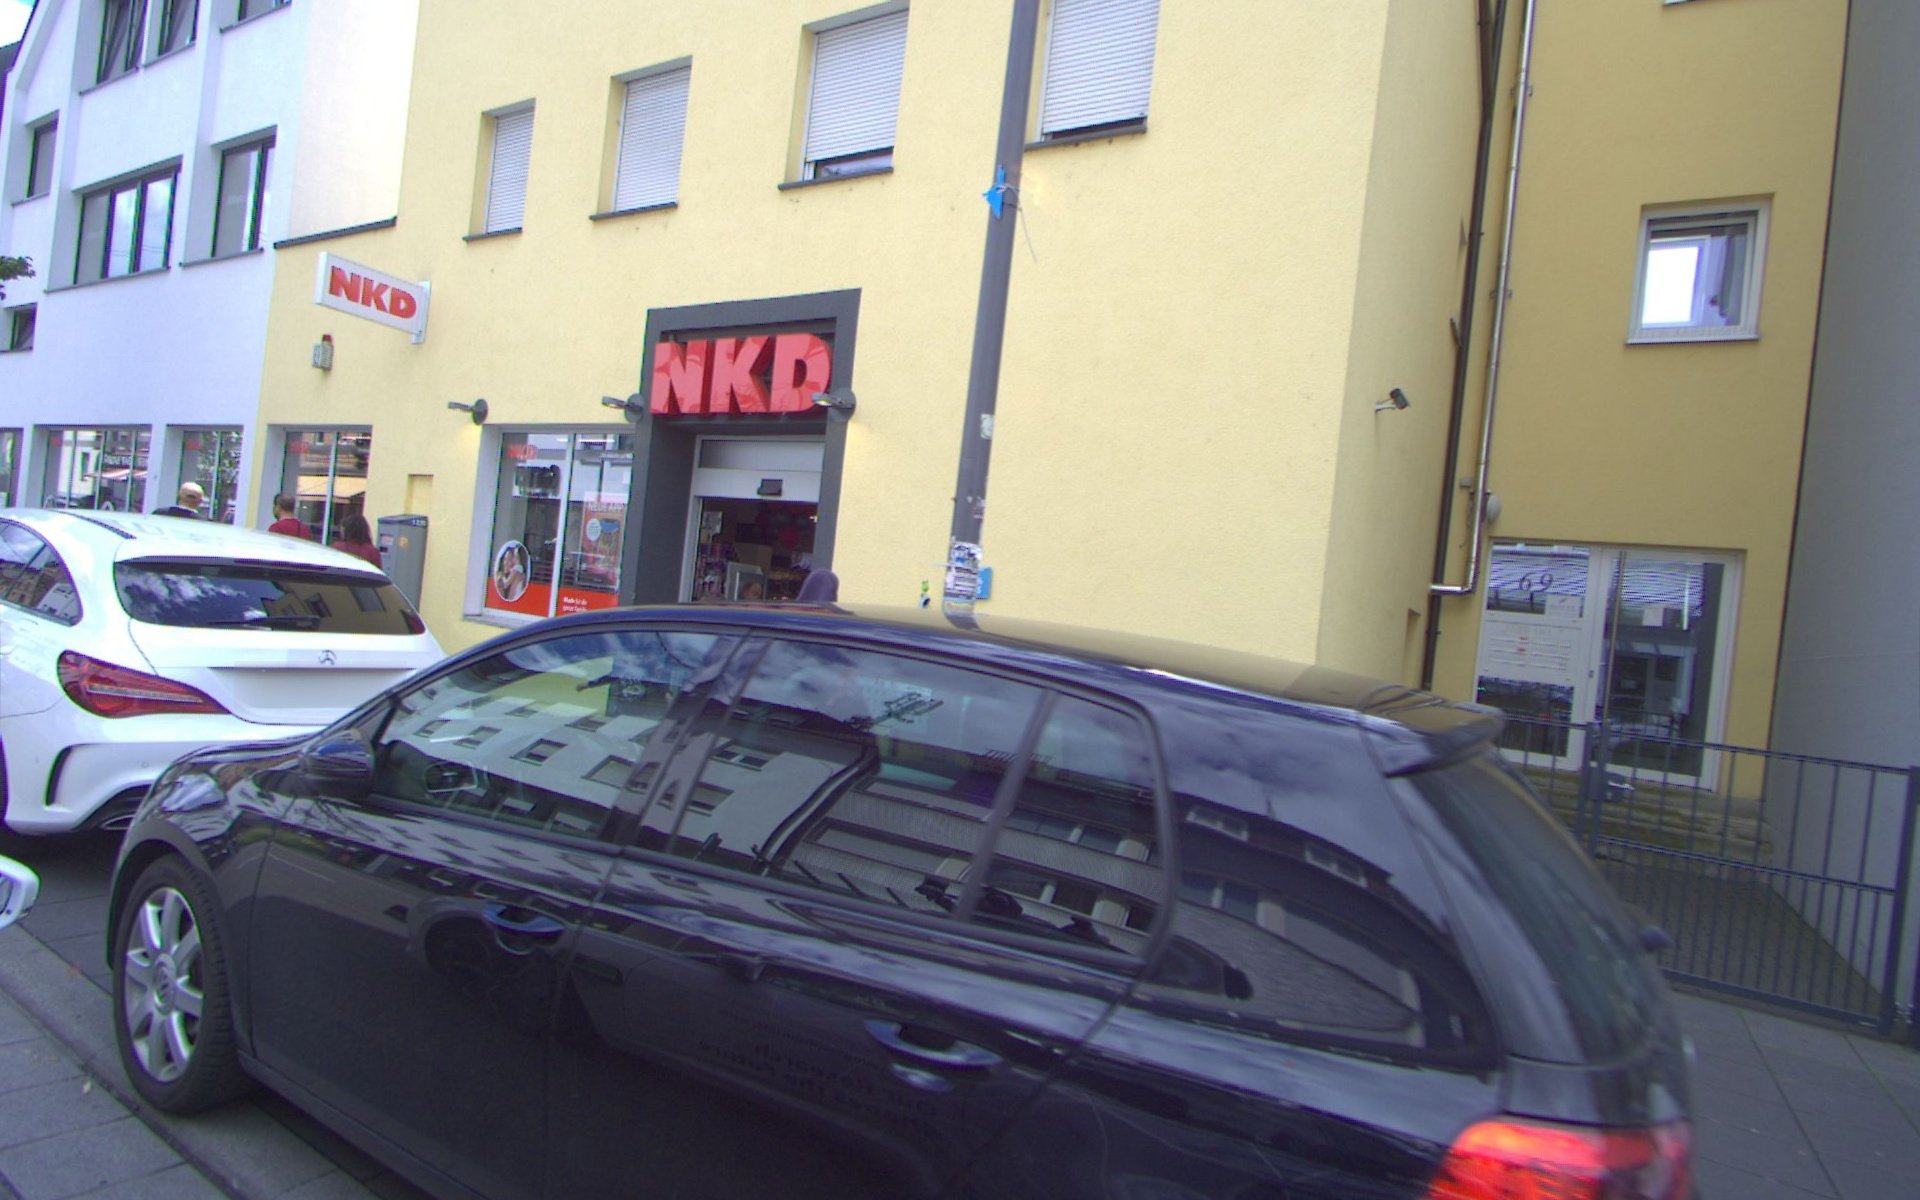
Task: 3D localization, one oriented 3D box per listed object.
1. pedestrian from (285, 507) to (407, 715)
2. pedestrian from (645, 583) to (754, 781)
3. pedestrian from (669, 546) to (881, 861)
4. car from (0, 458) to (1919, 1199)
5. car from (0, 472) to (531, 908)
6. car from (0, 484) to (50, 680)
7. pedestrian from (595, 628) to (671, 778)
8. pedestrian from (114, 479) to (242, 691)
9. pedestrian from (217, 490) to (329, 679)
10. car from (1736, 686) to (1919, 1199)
[{"bbox_3d":[-5.769,0.109,9.461,0.566,1.862,0.589,6,-1,32],"label":"pedestrian"},{"bbox_3d":[-1.937,0.604,7.471,0.443,1.380,0.532,6,1,-43],"label":"pedestrian"},{"bbox_3d":[-1.024,0.546,5.644,0.714,1.572,0.750,6,0,30],"label":"pedestrian"},{"bbox_3d":[-0.637,0.676,2.676,4.445,1.489,1.694,8,-1,29],"label":"car"},{"bbox_3d":[-4.629,0.202,5.483,4.877,1.492,1.633,6,-2,33],"label":"car"},{"bbox_3d":[-9.485,-0.378,8.331,4.283,1.492,1.724,6,-2,33],"label":"car"},{"bbox_3d":[-2.328,0.732,7.153,0.348,1.013,0.291,6,0,-34],"label":"pedestrian"},{"bbox_3d":[-7.215,-0.129,9.291,0.566,1.862,0.589,6,-1,32],"label":"pedestrian"},{"bbox_3d":[-7.099,-0.152,10.400,0.566,1.862,0.589,6,-1,32],"label":"pedestrian"},{"bbox_3d":[3.066,1.092,0.701,3.691,1.592,1.694,6,-2,28],"label":"car"}]
